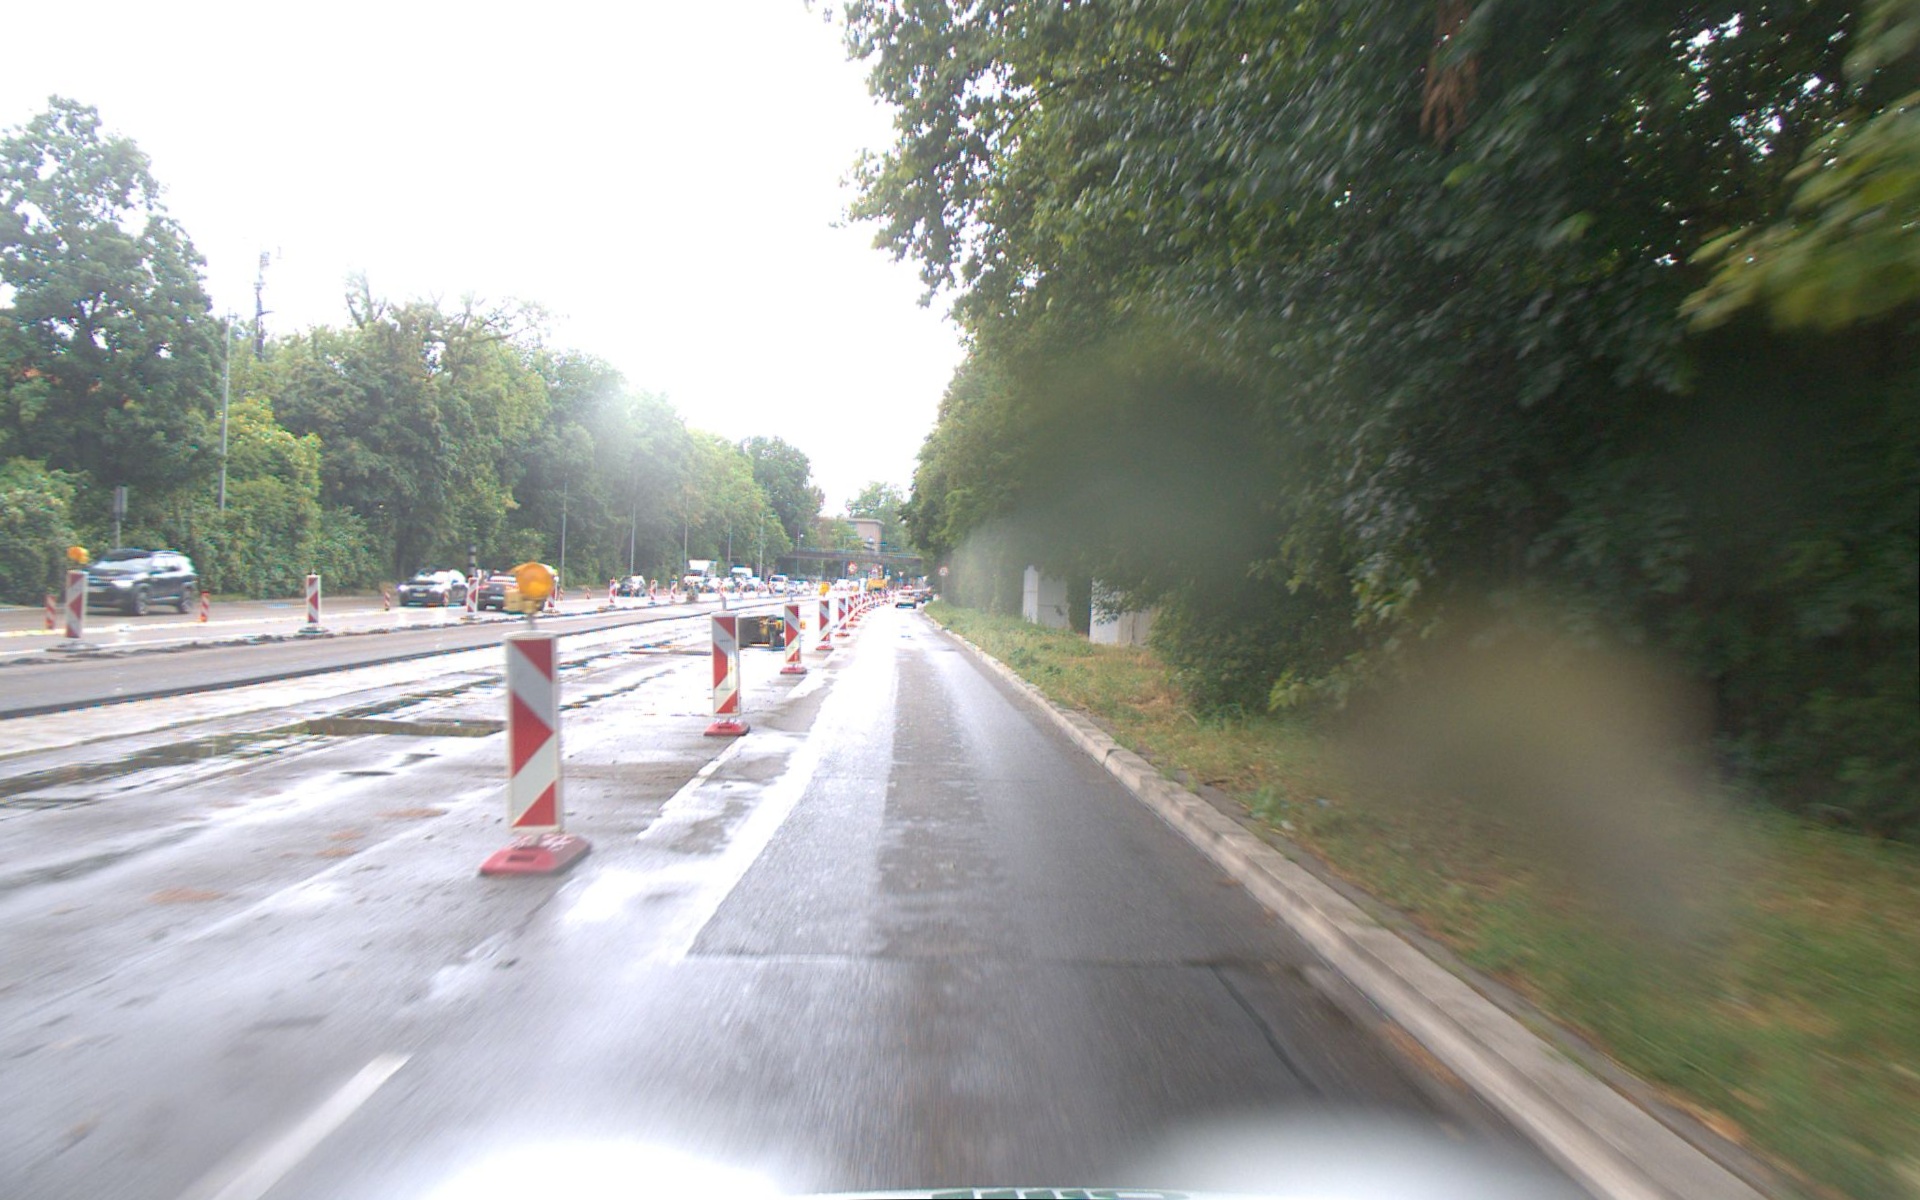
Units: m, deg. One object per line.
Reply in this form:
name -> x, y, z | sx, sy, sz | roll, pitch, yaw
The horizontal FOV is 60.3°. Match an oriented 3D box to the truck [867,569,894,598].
truck -> -10.527, -2.187, 220.207 | 3.194, 3.558, 13.864 | 2, 0, -2

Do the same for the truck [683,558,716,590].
truck -> -25.713, -2.544, 163.597 | 2.200, 2.991, 6.933 | 2, 0, -1

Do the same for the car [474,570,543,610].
car -> -16.935, -0.386, 62.205 | 1.575, 1.429, 4.039 | 2, 0, -2

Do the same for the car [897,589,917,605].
car -> -4.476, -0.244, 139.495 | 1.663, 1.359, 3.490 | 0, 0, -2

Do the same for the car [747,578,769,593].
car -> -22.226, -1.622, 182.140 | 1.920, 1.557, 4.435 | 2, 0, -1

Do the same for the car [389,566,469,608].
car -> -20.619, -0.507, 64.424 | 1.725, 1.509, 4.897 | 2, 0, -3

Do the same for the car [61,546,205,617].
car -> -21.908, -0.490, 44.002 | 1.620, 1.714, 4.531 | 2, 0, -2

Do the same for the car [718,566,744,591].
car -> -25.806, -2.416, 186.576 | 2.057, 2.624, 6.852 | 2, 0, -1

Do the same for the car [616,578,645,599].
car -> -22.468, -0.805, 112.916 | 1.419, 1.355, 3.857 | 2, 0, -5
